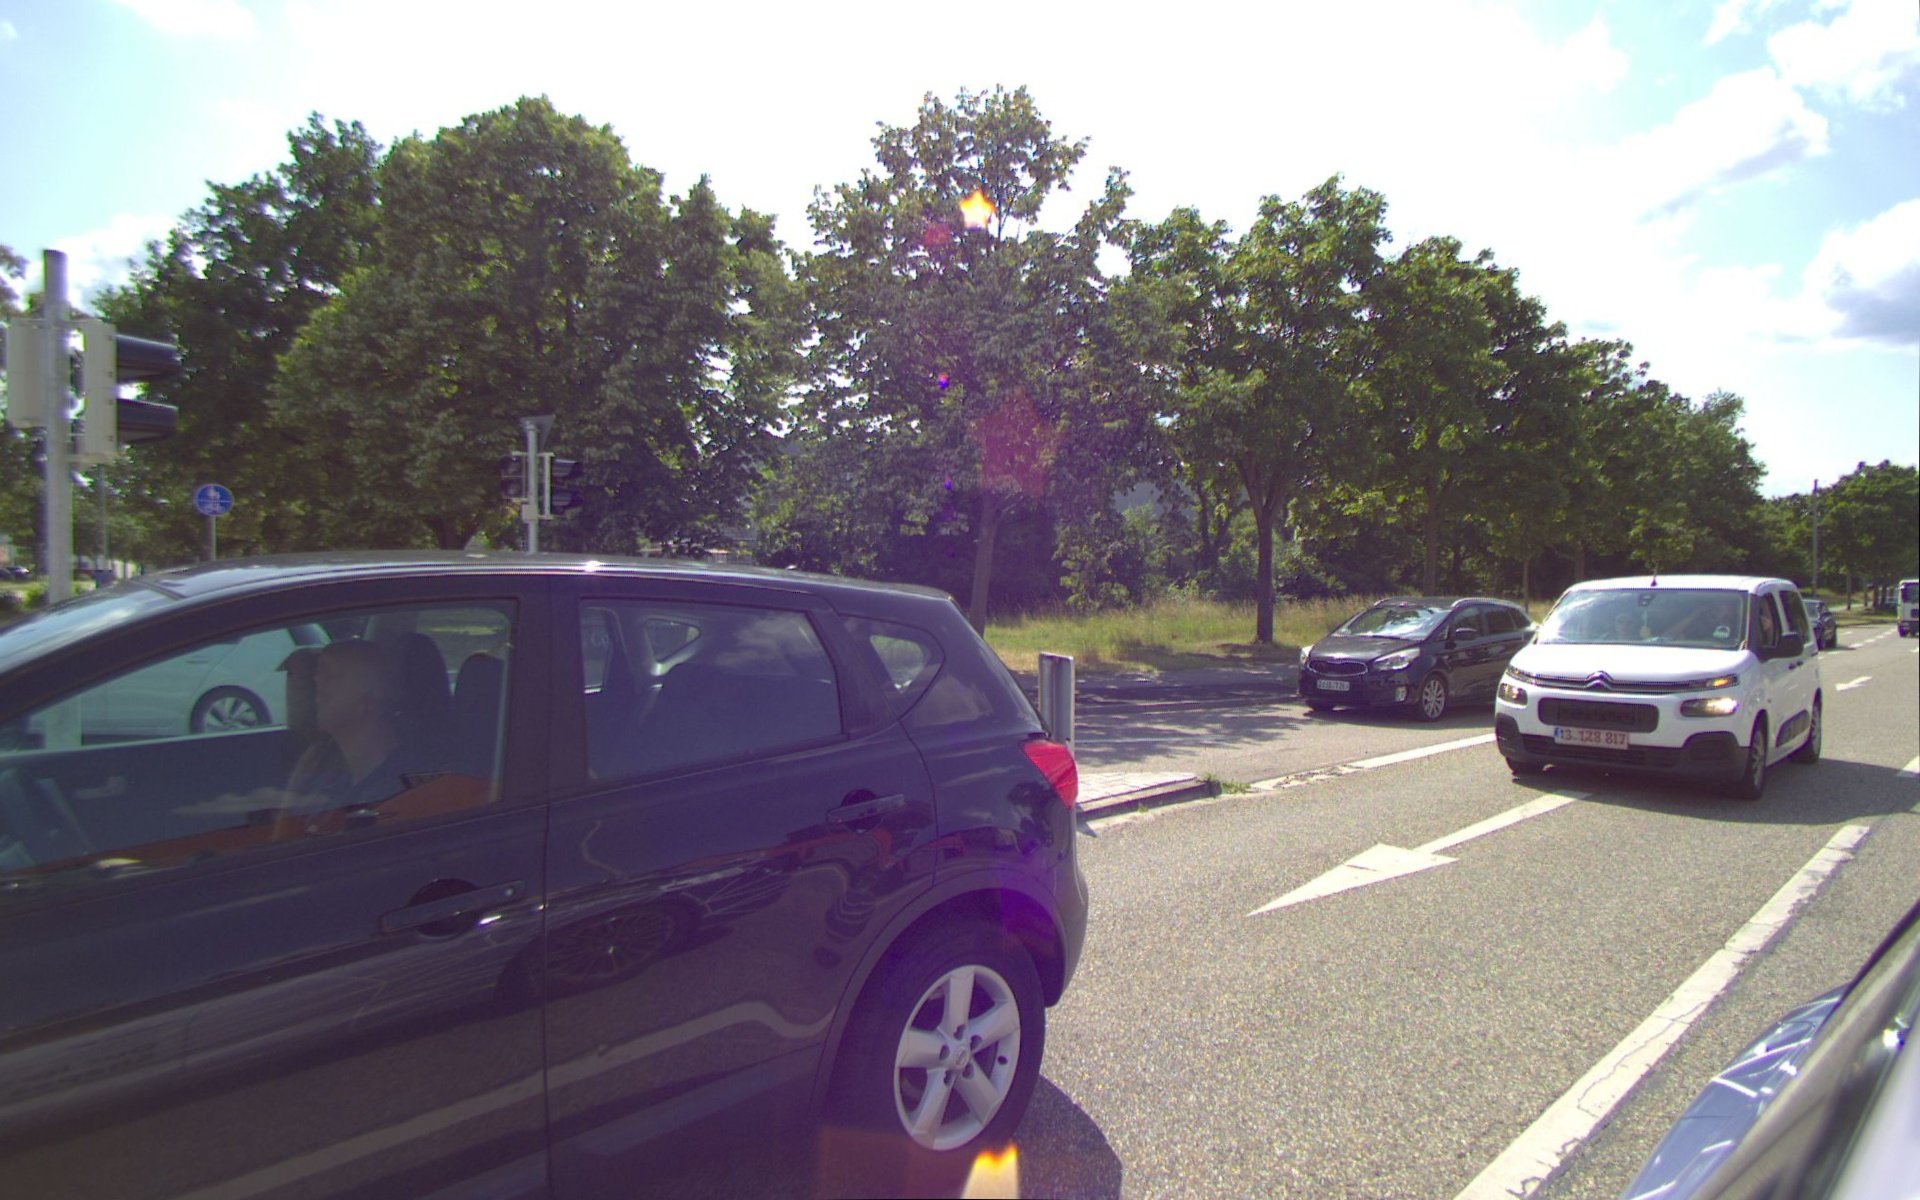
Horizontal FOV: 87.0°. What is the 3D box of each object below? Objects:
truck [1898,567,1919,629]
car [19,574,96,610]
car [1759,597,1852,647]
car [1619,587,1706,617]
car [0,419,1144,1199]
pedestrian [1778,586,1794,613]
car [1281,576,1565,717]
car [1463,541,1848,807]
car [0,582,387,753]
[{"bbox_3d":[44.496,-0.183,45.284,7.224,2.697,2.845,-2,0,-41],"label":"truck"},{"bbox_3d":[-32.303,-0.272,36.203,1.884,1.193,3.768,-1,0,-44],"label":"car"},{"bbox_3d":[28.639,0.726,34.244,3.930,1.509,1.757,-2,0,-41],"label":"car"},{"bbox_3d":[43.125,0.122,62.168,4.161,1.511,1.757,5,2,41],"label":"car"},{"bbox_3d":[-1.532,0.558,2.264,3.933,1.572,1.801,-2,0,-43],"label":"car"},{"bbox_3d":[57.592,-0.028,70.574,0.728,1.816,0.717,-1,-1,-45],"label":"pedestrian"},{"bbox_3d":[6.568,0.549,14.210,4.158,1.670,1.771,-2,0,-36],"label":"car"},{"bbox_3d":[6.482,0.513,9.196,4.637,1.808,1.932,0,-1,-44],"label":"car"},{"bbox_3d":[-8.053,0.588,9.785,4.010,1.505,1.740,0,0,-5],"label":"car"}]
